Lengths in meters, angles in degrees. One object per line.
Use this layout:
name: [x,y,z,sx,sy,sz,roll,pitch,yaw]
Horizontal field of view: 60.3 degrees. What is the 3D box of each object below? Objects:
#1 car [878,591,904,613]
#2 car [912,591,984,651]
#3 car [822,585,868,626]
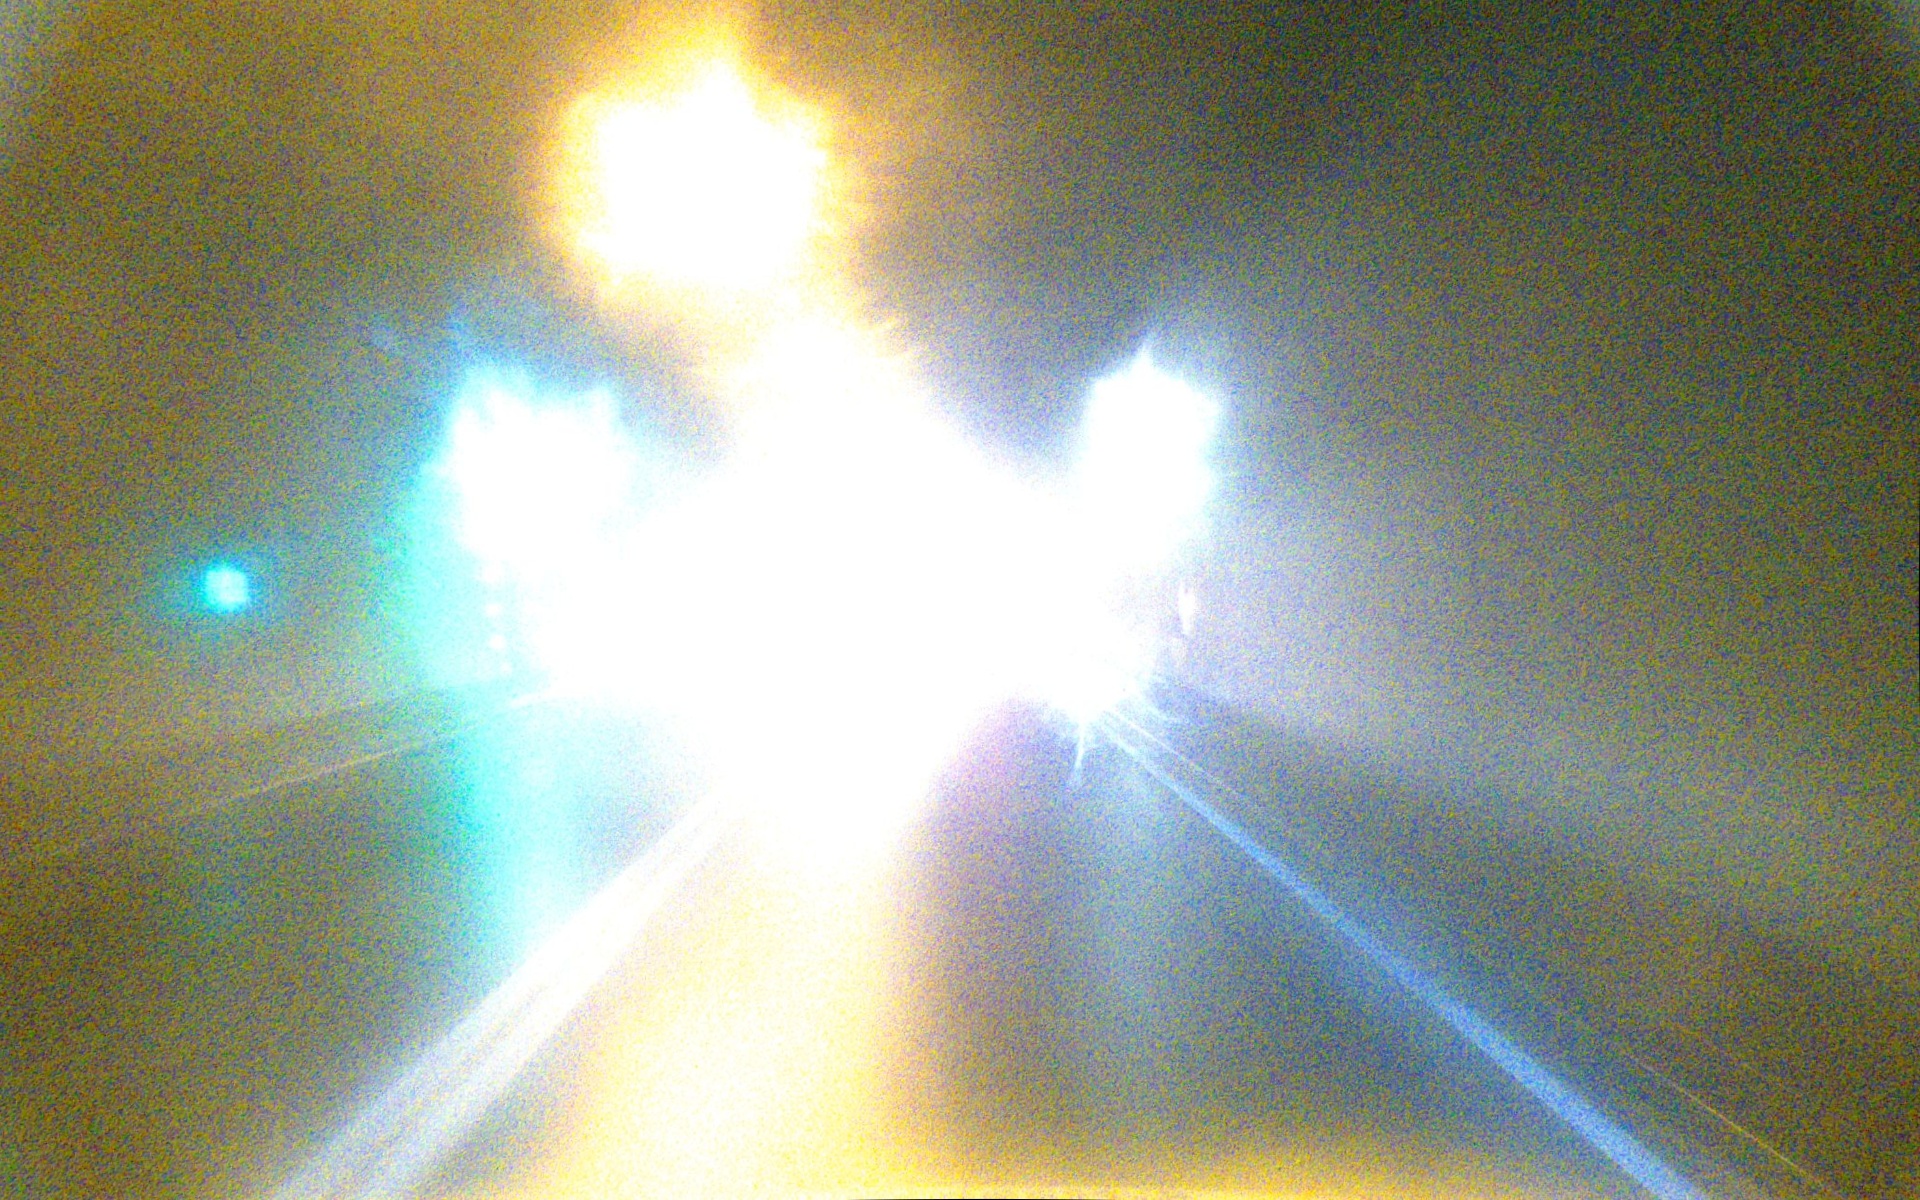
car: [-4.721,0.147,112.788,1.676,1.488,3.574,0,0,-1]
car: [-0.396,0.606,49.439,2.047,1.691,3.999,0,0,-2]
car: [-4.443,0.213,64.365,1.656,1.531,3.743,0,0,-2]
